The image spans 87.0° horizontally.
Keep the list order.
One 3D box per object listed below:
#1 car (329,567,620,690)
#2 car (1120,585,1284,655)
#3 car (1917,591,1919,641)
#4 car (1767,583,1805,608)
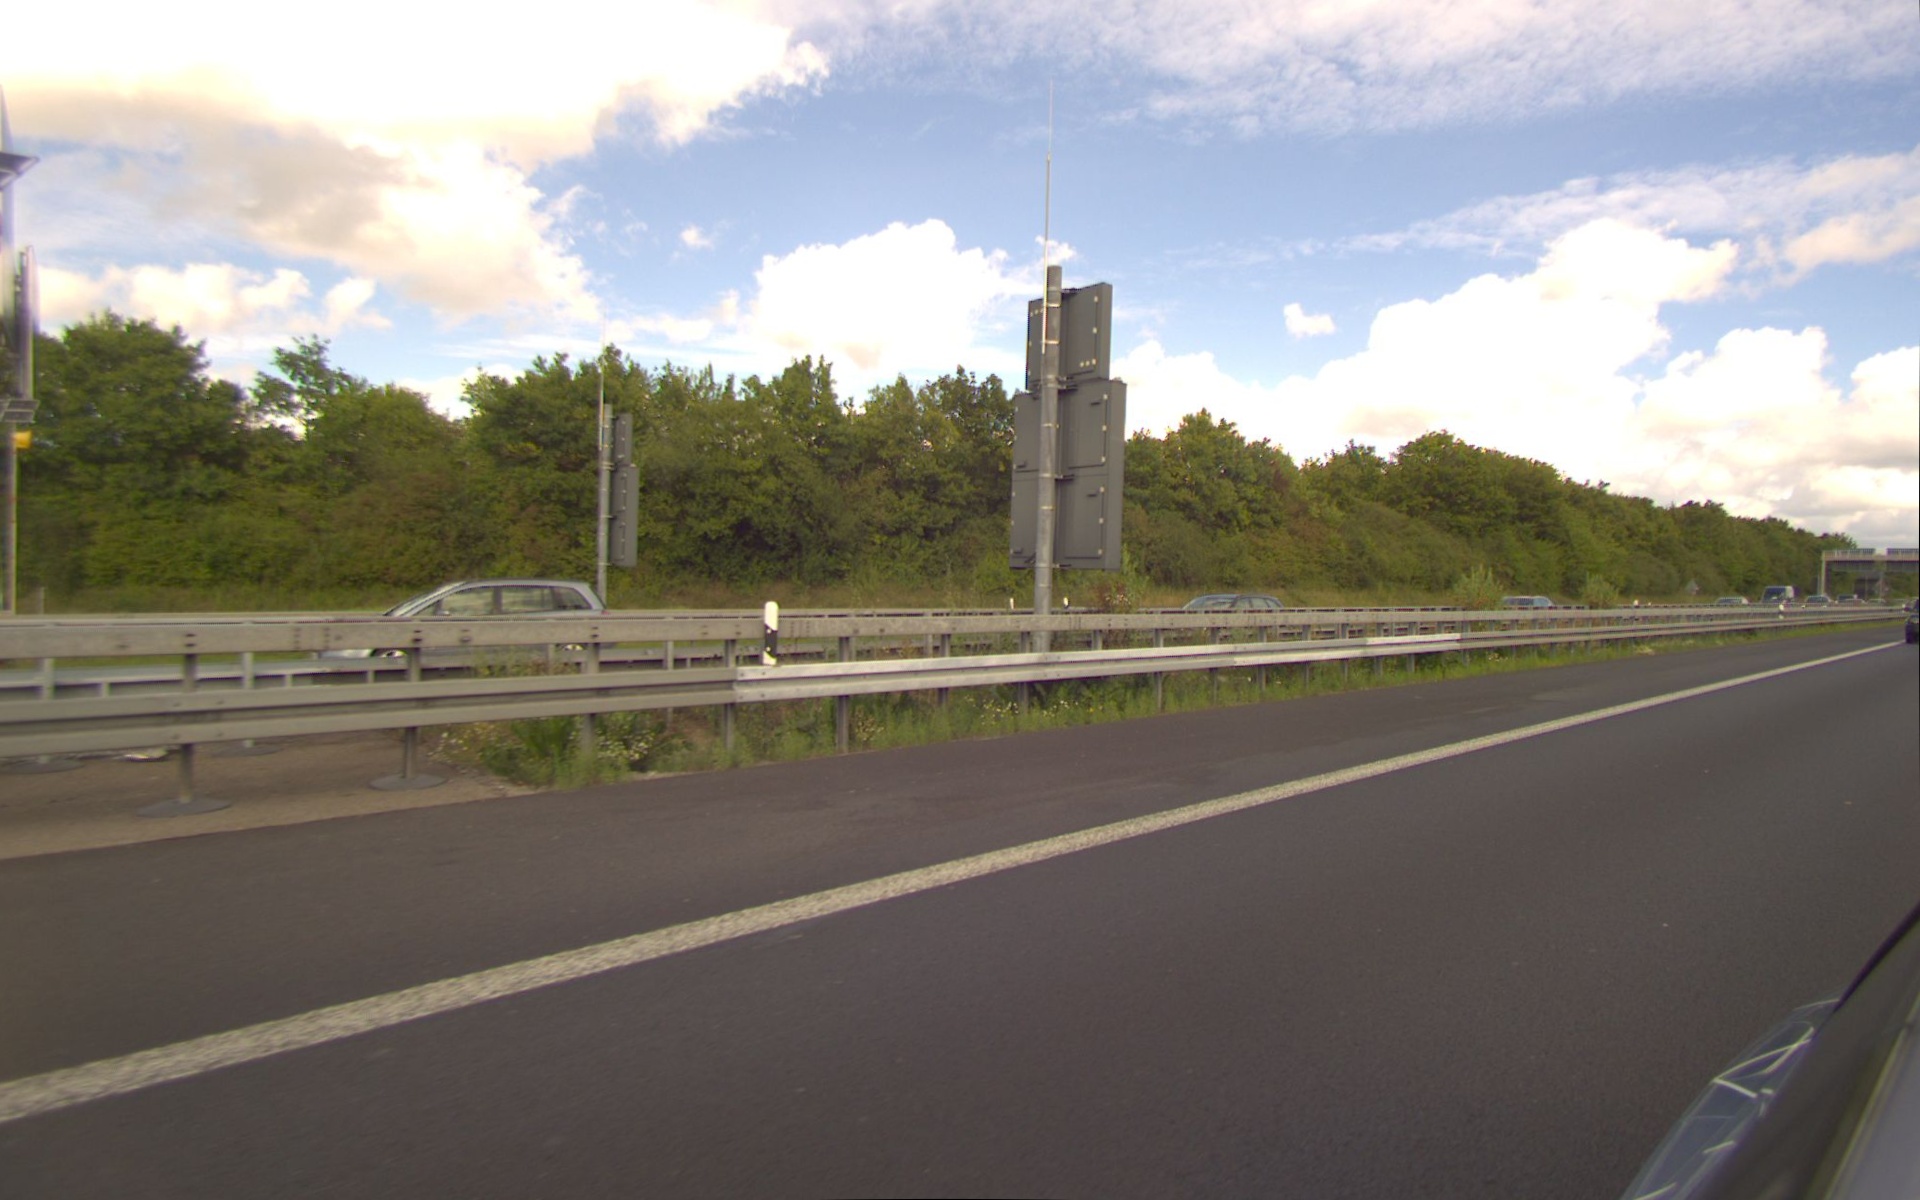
[{"bbox_3d":[-7.925,0.378,16.674,3.931,1.729,1.997,0,3,-42],"label":"car"},{"bbox_3d":[5.889,0.413,24.385,3.932,1.503,1.996,0,2,-43],"label":"car"},{"bbox_3d":[36.009,0.582,36.535,4.133,1.754,1.670,0,2,-40],"label":"car"},{"bbox_3d":[75.640,-0.433,92.661,5.041,2.212,1.996,0,2,-43],"label":"car"}]
